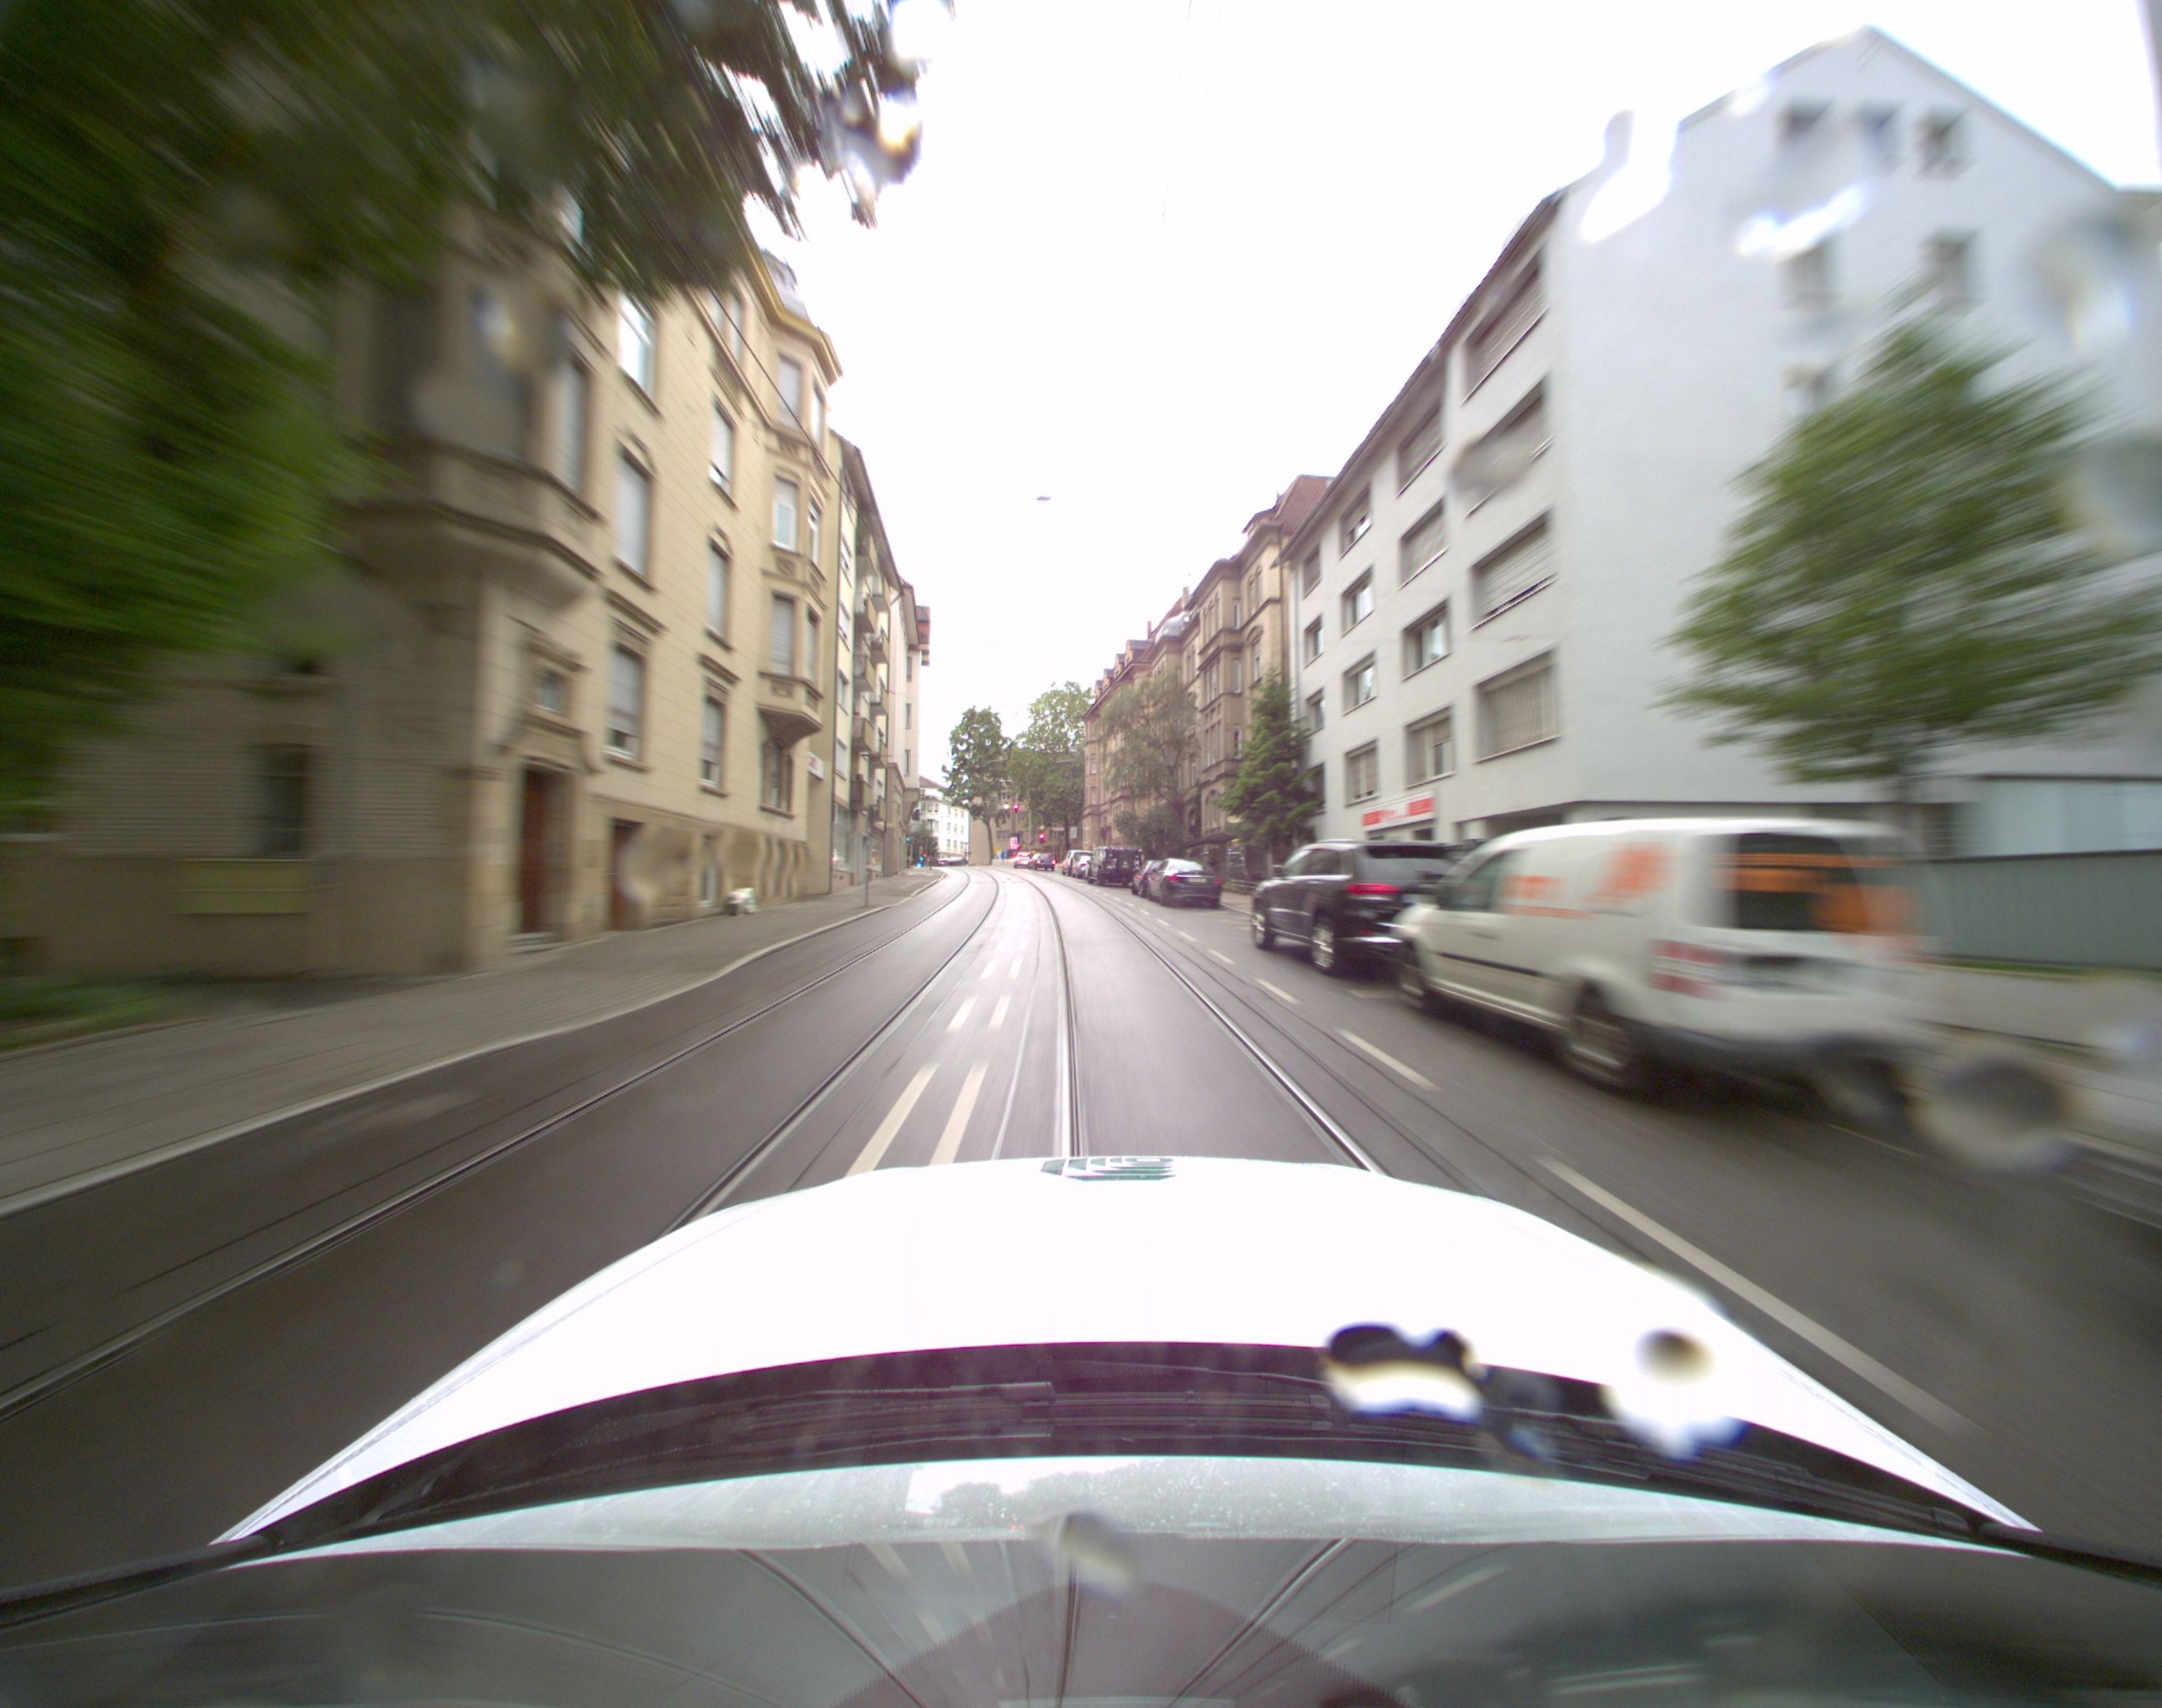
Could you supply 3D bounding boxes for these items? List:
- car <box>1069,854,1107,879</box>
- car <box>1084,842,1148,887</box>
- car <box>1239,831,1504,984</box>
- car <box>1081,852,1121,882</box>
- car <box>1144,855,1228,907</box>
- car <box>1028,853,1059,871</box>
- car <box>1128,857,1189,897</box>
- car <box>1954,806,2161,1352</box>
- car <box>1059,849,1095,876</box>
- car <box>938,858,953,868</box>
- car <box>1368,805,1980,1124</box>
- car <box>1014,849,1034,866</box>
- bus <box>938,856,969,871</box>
[{"bbox_3d":[0.413,0.760,51.374,1.747,1.400,4.467,2,0,-7],"label":"car"},{"bbox_3d":[1.643,0.492,40.303,2.128,2.013,5.335,2,0,-8],"label":"car"},{"bbox_3d":[3.954,0.659,12.128,1.939,1.795,4.814,1,0,-4],"label":"car"},{"bbox_3d":[1.106,0.712,46.265,1.560,1.546,3.573,2,0,-9],"label":"car"},{"bbox_3d":[3.194,0.794,25.750,1.790,1.437,4.605,1,0,-4],"label":"car"},{"bbox_3d":[-3.256,0.642,69.995,1.714,1.415,4.015,1,0,-16],"label":"car"},{"bbox_3d":[2.821,0.819,30.327,1.675,1.338,3.878,1,0,-3],"label":"car"},{"bbox_3d":[4.247,0.689,0.750,1.827,1.656,4.684,1,0,-2],"label":"car"},{"bbox_3d":[-0.325,0.549,56.373,1.797,1.765,4.449,2,0,-9],"label":"car"},{"bbox_3d":[-22.085,1.431,132.675,1.789,1.510,3.999,-3,0,-1],"label":"car"},{"bbox_3d":[4.206,0.653,6.891,1.774,1.795,4.466,1,0,-3],"label":"car"},{"bbox_3d":[-5.354,0.312,76.044,1.709,1.456,3.544,1,0,-7],"label":"car"},{"bbox_3d":[-25.224,1.851,161.945,2.833,2.861,8.768,-1,0,15],"label":"bus"}]
